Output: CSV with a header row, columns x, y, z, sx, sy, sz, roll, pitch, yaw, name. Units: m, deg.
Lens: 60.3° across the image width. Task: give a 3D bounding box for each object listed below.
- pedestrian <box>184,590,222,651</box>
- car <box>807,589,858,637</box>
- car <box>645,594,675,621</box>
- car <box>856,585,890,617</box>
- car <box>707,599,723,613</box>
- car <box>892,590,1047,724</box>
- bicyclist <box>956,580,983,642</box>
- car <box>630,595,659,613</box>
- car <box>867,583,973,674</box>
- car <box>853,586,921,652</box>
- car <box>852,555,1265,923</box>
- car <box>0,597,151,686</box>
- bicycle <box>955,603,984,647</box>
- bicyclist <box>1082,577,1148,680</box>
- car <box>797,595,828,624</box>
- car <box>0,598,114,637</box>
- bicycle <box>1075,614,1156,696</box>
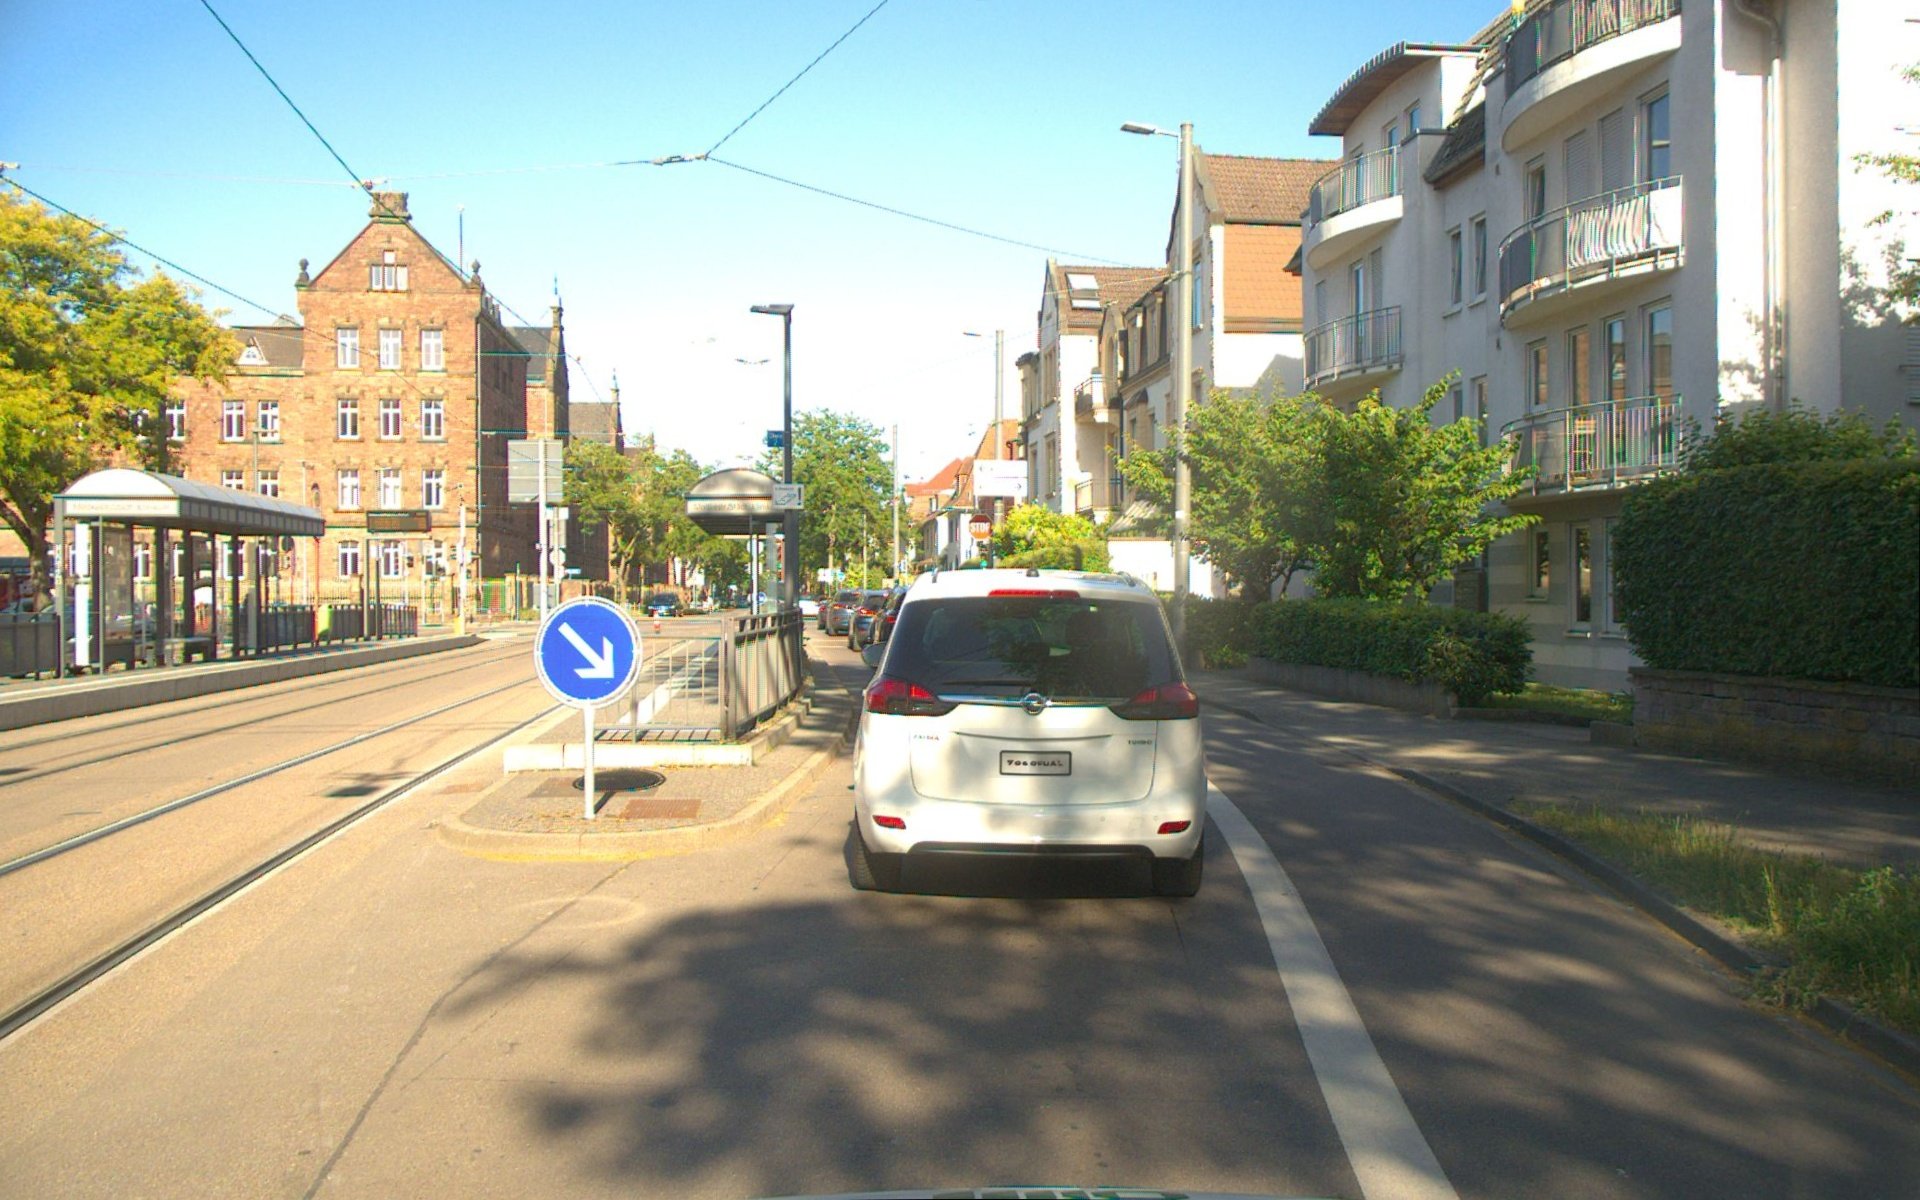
x,y,z,sx,sy,sz,roll,pitch,yaw,name
-23.878,0.653,52.174,0.712,1.893,1.095,0,0,-4,pedestrian
-4.479,0.454,58.403,1.741,1.660,3.877,0,0,-4,car
-19.462,0.447,107.233,1.872,1.706,4.347,0,0,-10,car
-4.770,0.059,90.480,1.741,1.660,3.877,0,0,-4,car
-30.028,0.681,203.064,1.870,1.706,3.994,0,0,-7,car
0.029,0.614,20.153,1.555,1.445,3.897,-1,0,-4,car
0.250,0.295,44.902,0.672,1.663,1.015,0,0,-4,bicyclist
-27.583,0.354,144.685,1.954,1.624,3.997,0,0,-4,car
-0.839,0.527,31.999,1.742,1.660,3.875,0,0,-6,car
-1.961,0.494,44.301,1.740,1.660,3.878,0,0,-3,car
0.338,0.638,9.550,1.799,1.670,3.914,0,0,-6,car
-17.002,0.802,30.981,1.819,1.427,3.979,-5,-2,-4,car
0.255,0.673,44.870,0.672,1.177,1.618,0,0,-4,bicycle
2.331,0.421,24.947,0.805,1.528,0.933,0,0,-7,bicyclist
-8.719,0.554,98.119,1.741,1.722,3.877,0,0,-4,car
-36.646,0.701,66.759,3.984,1.548,1.875,0,0,-5,car
2.326,0.803,24.996,0.813,1.175,2.091,0,0,-7,bicycle
